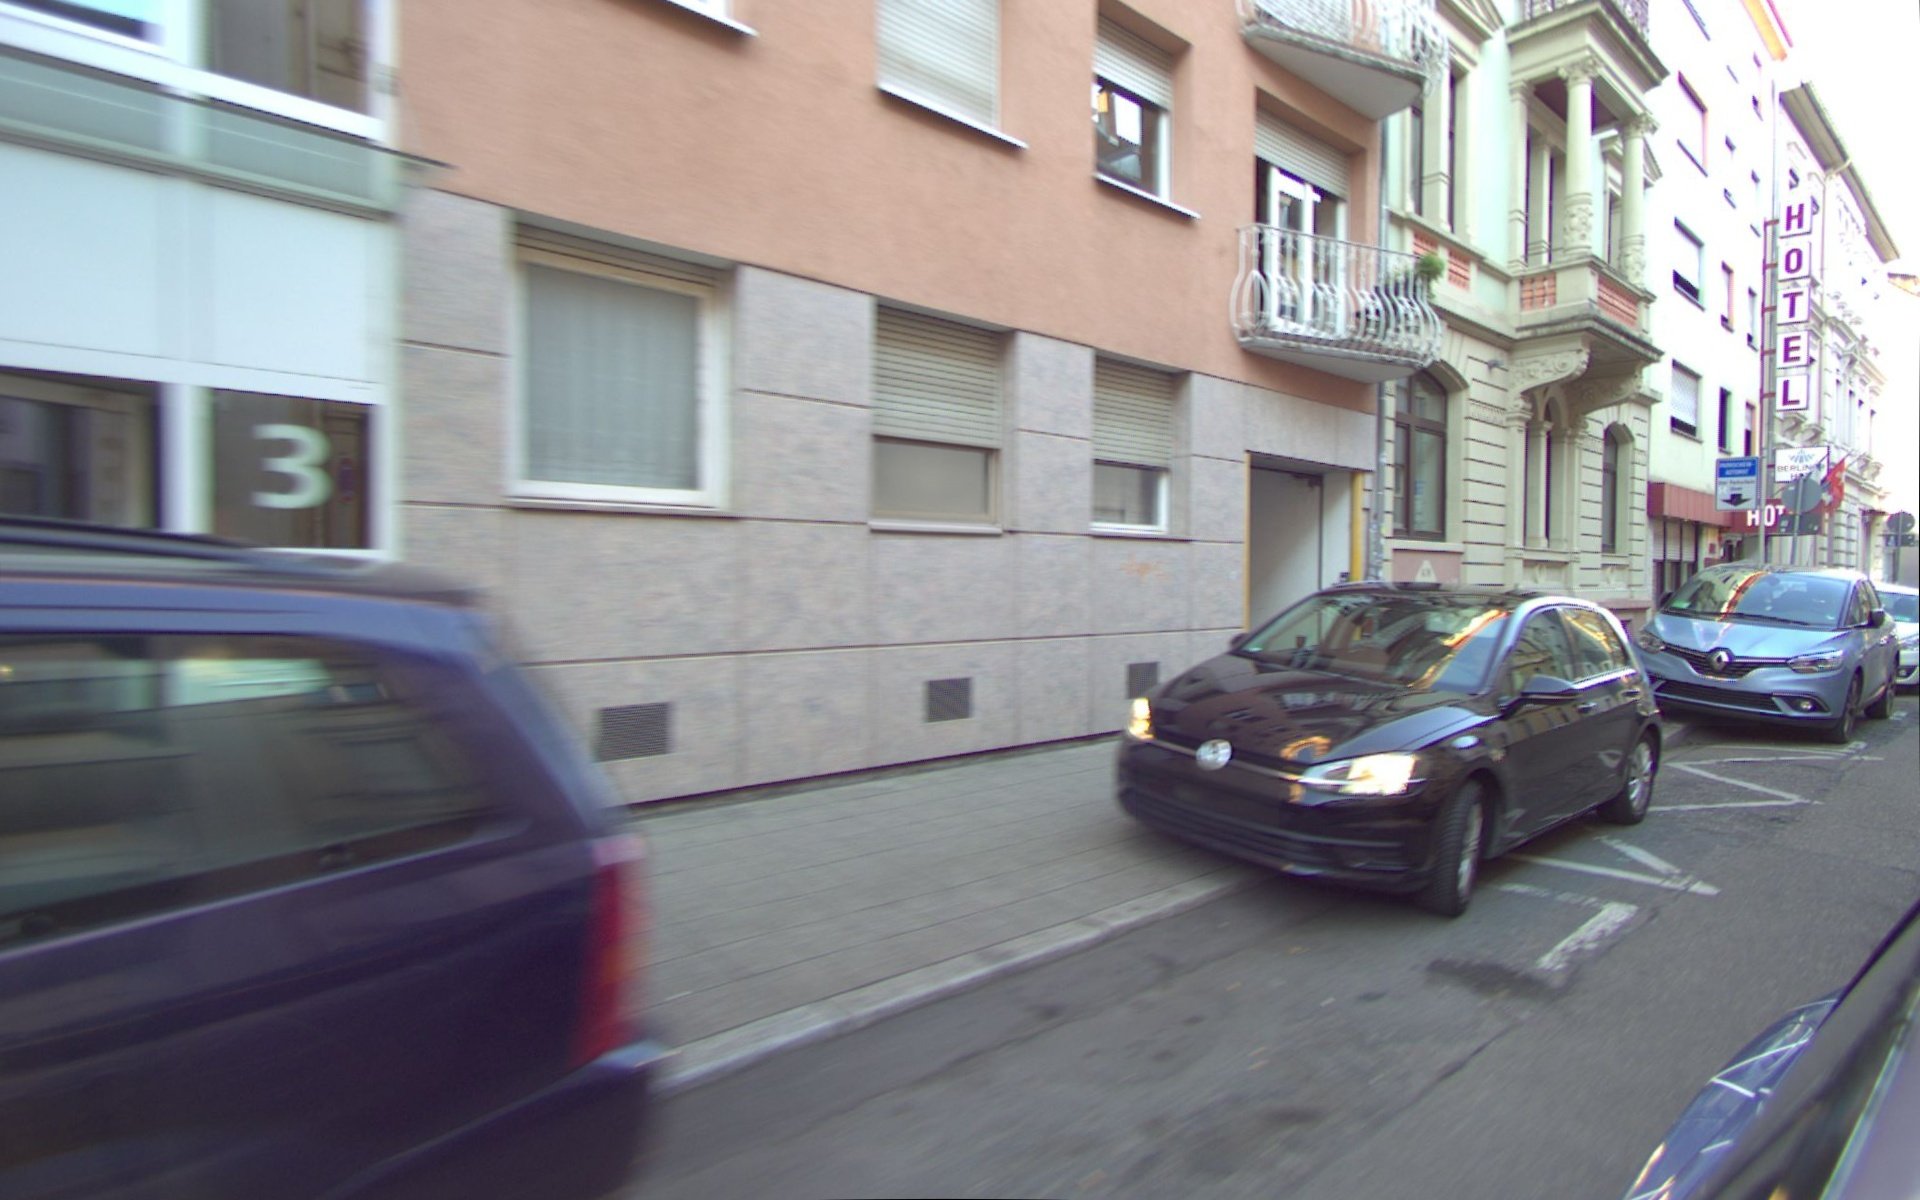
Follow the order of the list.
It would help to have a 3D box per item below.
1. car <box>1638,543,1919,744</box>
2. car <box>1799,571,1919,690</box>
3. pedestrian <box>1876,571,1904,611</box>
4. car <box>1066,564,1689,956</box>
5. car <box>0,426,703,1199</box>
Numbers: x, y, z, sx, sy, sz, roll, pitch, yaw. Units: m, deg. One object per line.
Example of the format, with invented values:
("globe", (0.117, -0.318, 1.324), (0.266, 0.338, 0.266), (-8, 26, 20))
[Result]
("car", (8.842, 0.337, 10.814), (4.038, 1.763, 1.692), (-1, 1, -41))
("car", (13.858, 0.376, 15.071), (3.528, 1.598, 1.572), (-1, 1, -41))
("pedestrian", (33.459, -0.332, 36.417), (0.475, 1.441, 0.696), (-1, 1, -40))
("car", (2.605, 0.558, 5.795), (4.060, 1.476, 1.692), (-1, 1, -41))
("car", (-2.560, 0.576, 0.956), (4.209, 1.532, 1.692), (-1, 1, -41))
